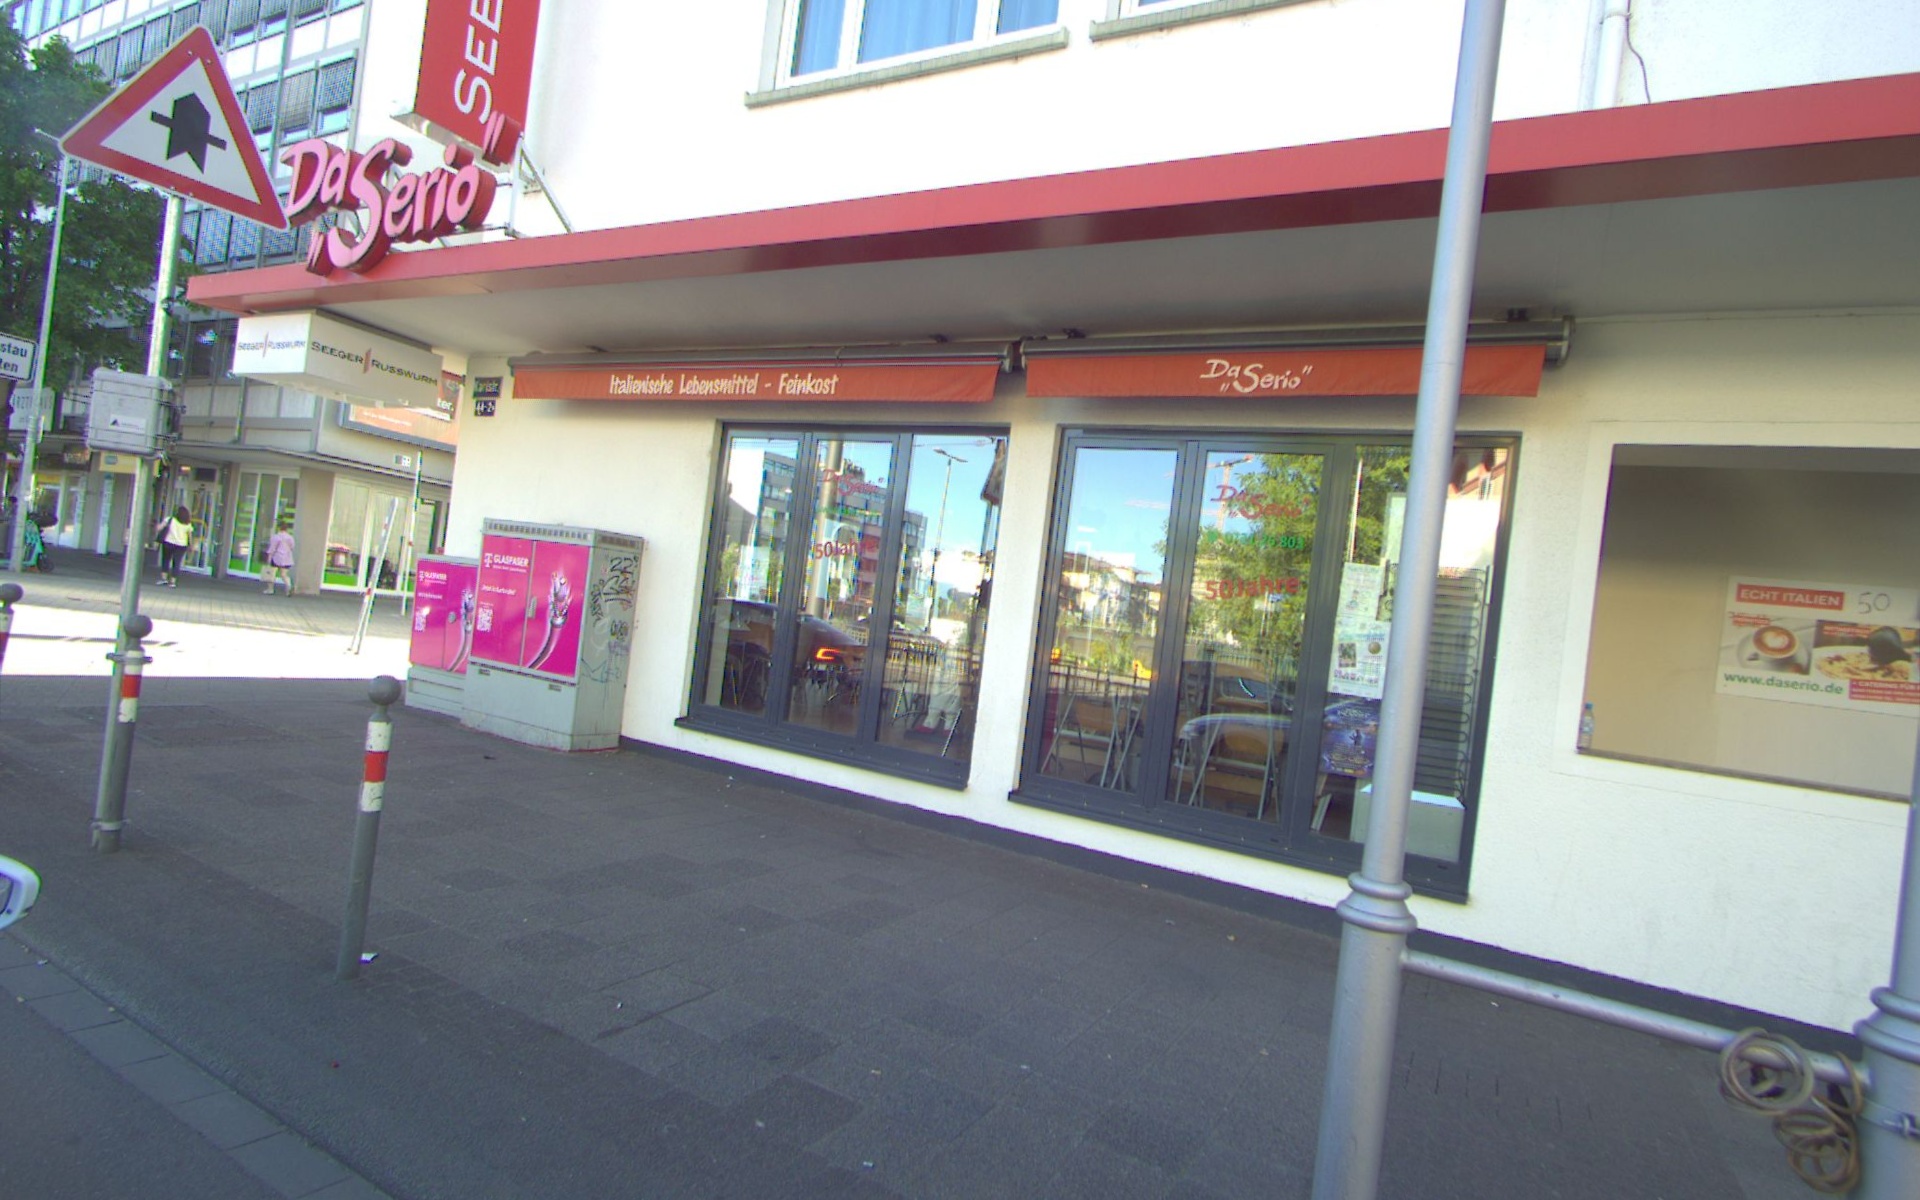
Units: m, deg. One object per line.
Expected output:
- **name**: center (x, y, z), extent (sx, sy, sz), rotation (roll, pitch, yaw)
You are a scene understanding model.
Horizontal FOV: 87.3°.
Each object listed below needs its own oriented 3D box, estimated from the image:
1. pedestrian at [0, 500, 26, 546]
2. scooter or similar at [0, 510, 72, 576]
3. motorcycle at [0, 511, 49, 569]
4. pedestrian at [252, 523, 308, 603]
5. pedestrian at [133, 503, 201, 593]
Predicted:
- **pedestrian**: center (-29.390, -2.398, 31.197), extent (0.504, 1.359, 0.390), rotation (6, -1, 34)
- **scooter or similar**: center (-19.933, -1.231, 21.173), extent (1.628, 1.229, 0.640), rotation (8, -1, -29)
- **motorcycle**: center (-21.562, -1.409, 22.403), extent (0.532, 1.186, 1.711), rotation (7, -2, 30)
- **pedestrian**: center (-15.601, -0.838, 23.088), extent (0.884, 1.687, 0.801), rotation (8, -1, -35)
- **pedestrian**: center (-17.062, -1.114, 21.672), extent (0.909, 1.773, 1.029), rotation (7, 0, -35)
